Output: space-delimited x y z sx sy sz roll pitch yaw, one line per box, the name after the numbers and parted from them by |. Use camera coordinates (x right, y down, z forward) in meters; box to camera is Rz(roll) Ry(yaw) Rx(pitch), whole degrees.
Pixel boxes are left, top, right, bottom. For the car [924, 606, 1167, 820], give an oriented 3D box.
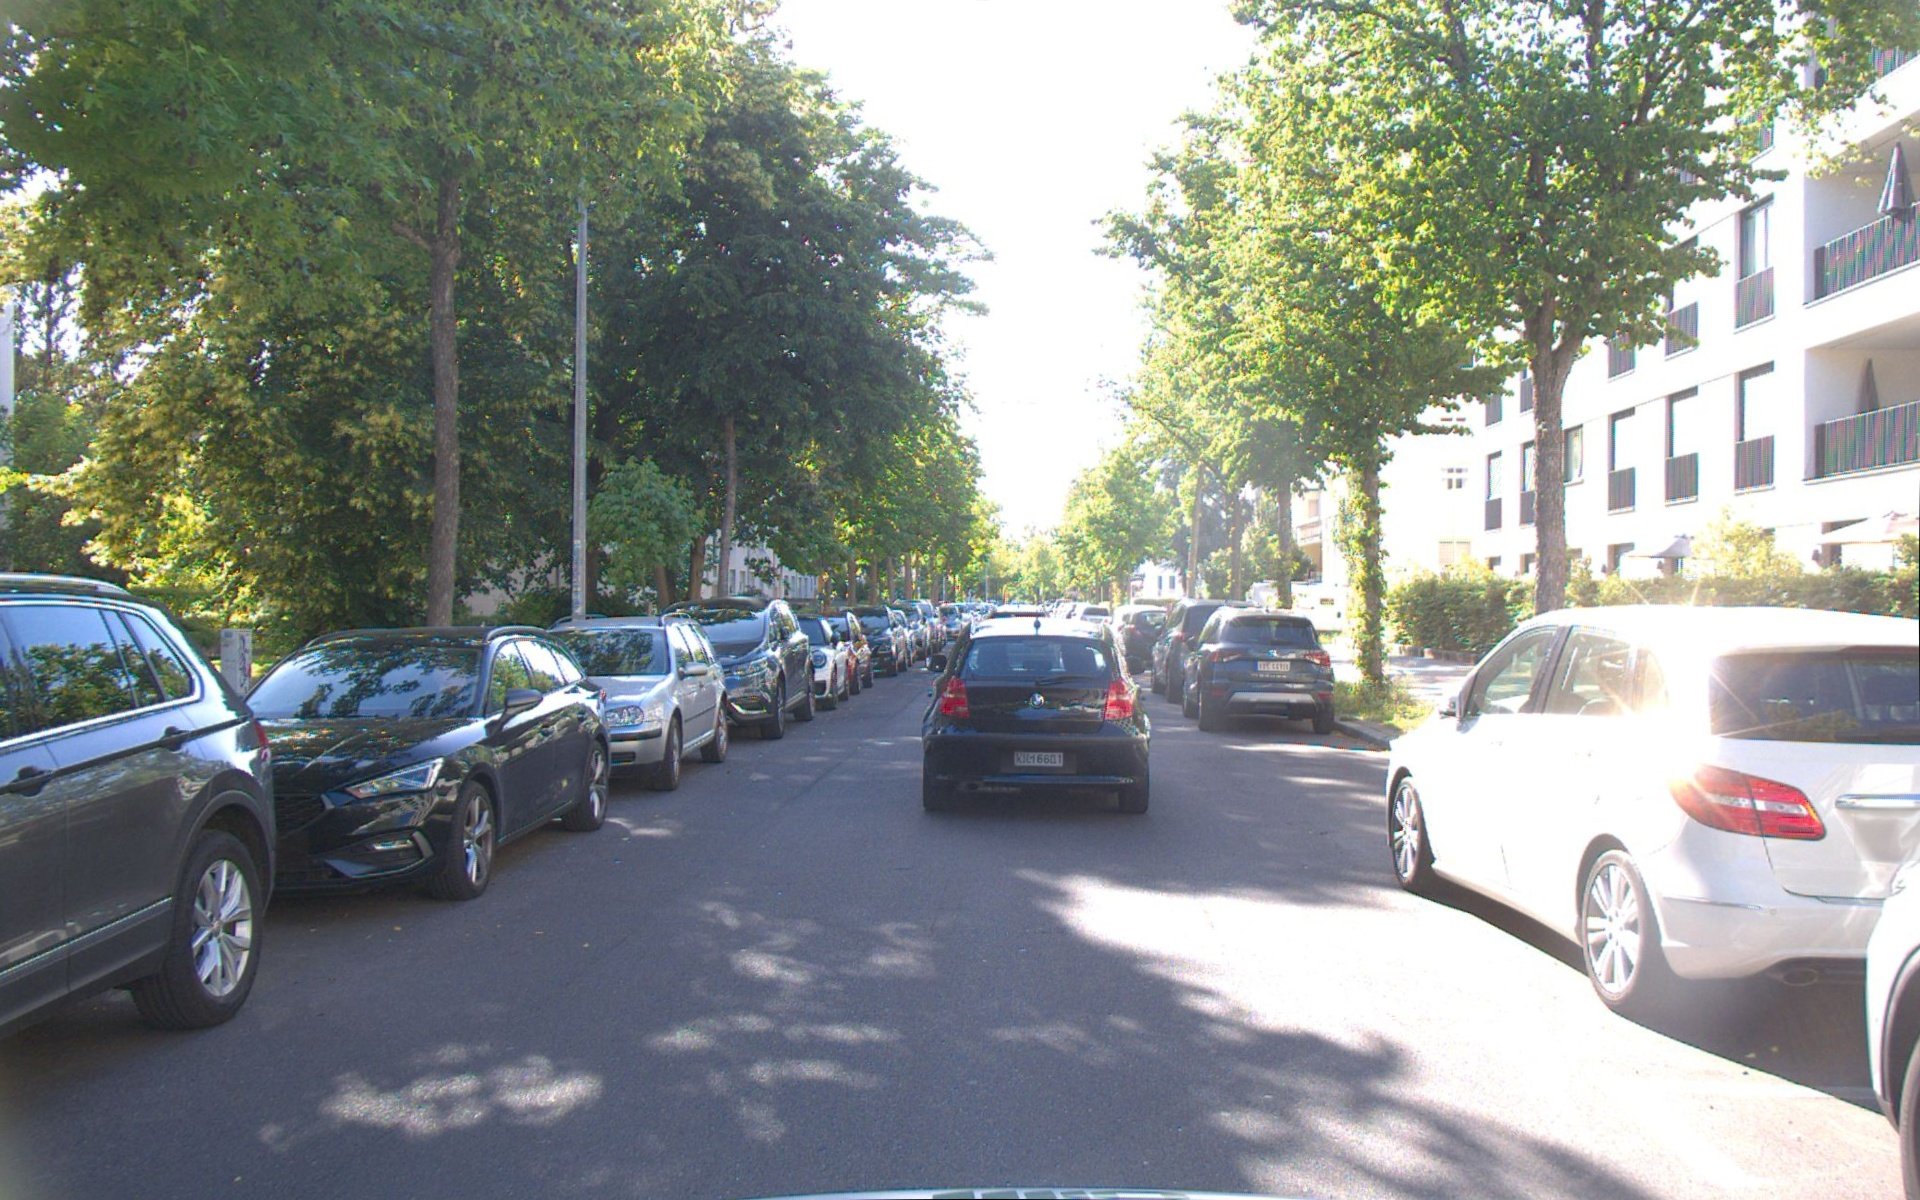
0.552 0.781 13.080 1.616 1.421 3.410 -1 0 -2 | car

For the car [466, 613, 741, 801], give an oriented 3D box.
-3.114 0.875 15.138 1.579 1.452 3.726 -1 0 2 | car

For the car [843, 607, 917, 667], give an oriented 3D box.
-2.034 0.921 42.723 1.579 1.416 3.866 -1 0 2 | car

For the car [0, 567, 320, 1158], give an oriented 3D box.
-3.467 0.745 4.738 1.579 1.639 4.229 -1 0 0 | car

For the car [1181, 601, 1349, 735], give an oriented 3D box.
3.957 0.824 22.046 1.685 1.555 4.002 2 0 3 | car

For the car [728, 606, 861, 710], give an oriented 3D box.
-2.557 0.860 26.273 1.579 1.478 3.866 -1 0 2 | car

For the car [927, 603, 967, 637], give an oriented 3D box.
-0.535 0.840 71.433 1.579 1.416 3.866 -1 0 2 | car

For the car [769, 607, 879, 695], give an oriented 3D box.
-2.479 0.902 30.886 1.579 1.478 3.866 -1 0 2 | car

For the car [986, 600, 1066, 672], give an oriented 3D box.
1.478 0.740 36.035 1.615 1.450 4.003 -1 0 4 | car

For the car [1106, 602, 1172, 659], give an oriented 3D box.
5.148 0.847 47.941 1.685 1.506 3.853 2 0 3 | car

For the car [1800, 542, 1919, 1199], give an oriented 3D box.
2.883 0.696 1.937 1.809 1.659 4.412 1 -1 4 | car

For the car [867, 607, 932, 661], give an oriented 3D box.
-1.682 0.945 47.241 1.579 1.416 3.866 -1 0 2 | car

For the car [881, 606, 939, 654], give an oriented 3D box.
-1.552 0.930 52.514 1.579 1.416 3.866 -1 0 2 | car

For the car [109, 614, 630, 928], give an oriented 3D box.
-3.271 0.849 10.045 1.579 1.452 4.059 -1 0 2 | car

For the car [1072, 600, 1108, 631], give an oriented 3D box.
6.560 0.746 83.221 1.684 1.506 3.853 -1 0 5 | car

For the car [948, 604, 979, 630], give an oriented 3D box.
0.194 0.924 91.104 1.579 1.416 3.866 -1 0 2 | car

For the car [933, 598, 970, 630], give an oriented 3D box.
-0.371 0.653 76.858 1.579 1.416 3.866 -1 0 2 | car

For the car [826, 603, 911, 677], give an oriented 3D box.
-2.040 0.870 37.788 1.579 1.570 3.866 -1 0 2 | car

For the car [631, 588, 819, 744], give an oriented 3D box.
-2.806 0.738 20.573 1.579 1.708 4.235 -1 0 2 | car

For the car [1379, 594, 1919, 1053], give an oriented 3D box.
3.307 0.767 7.619 1.659 1.550 3.999 0 0 -1 | car

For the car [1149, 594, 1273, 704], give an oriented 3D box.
4.185 0.773 28.052 1.685 1.669 3.853 2 0 3 | car

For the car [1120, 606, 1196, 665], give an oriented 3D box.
5.120 0.891 43.149 1.685 1.403 3.853 2 0 3 | car
